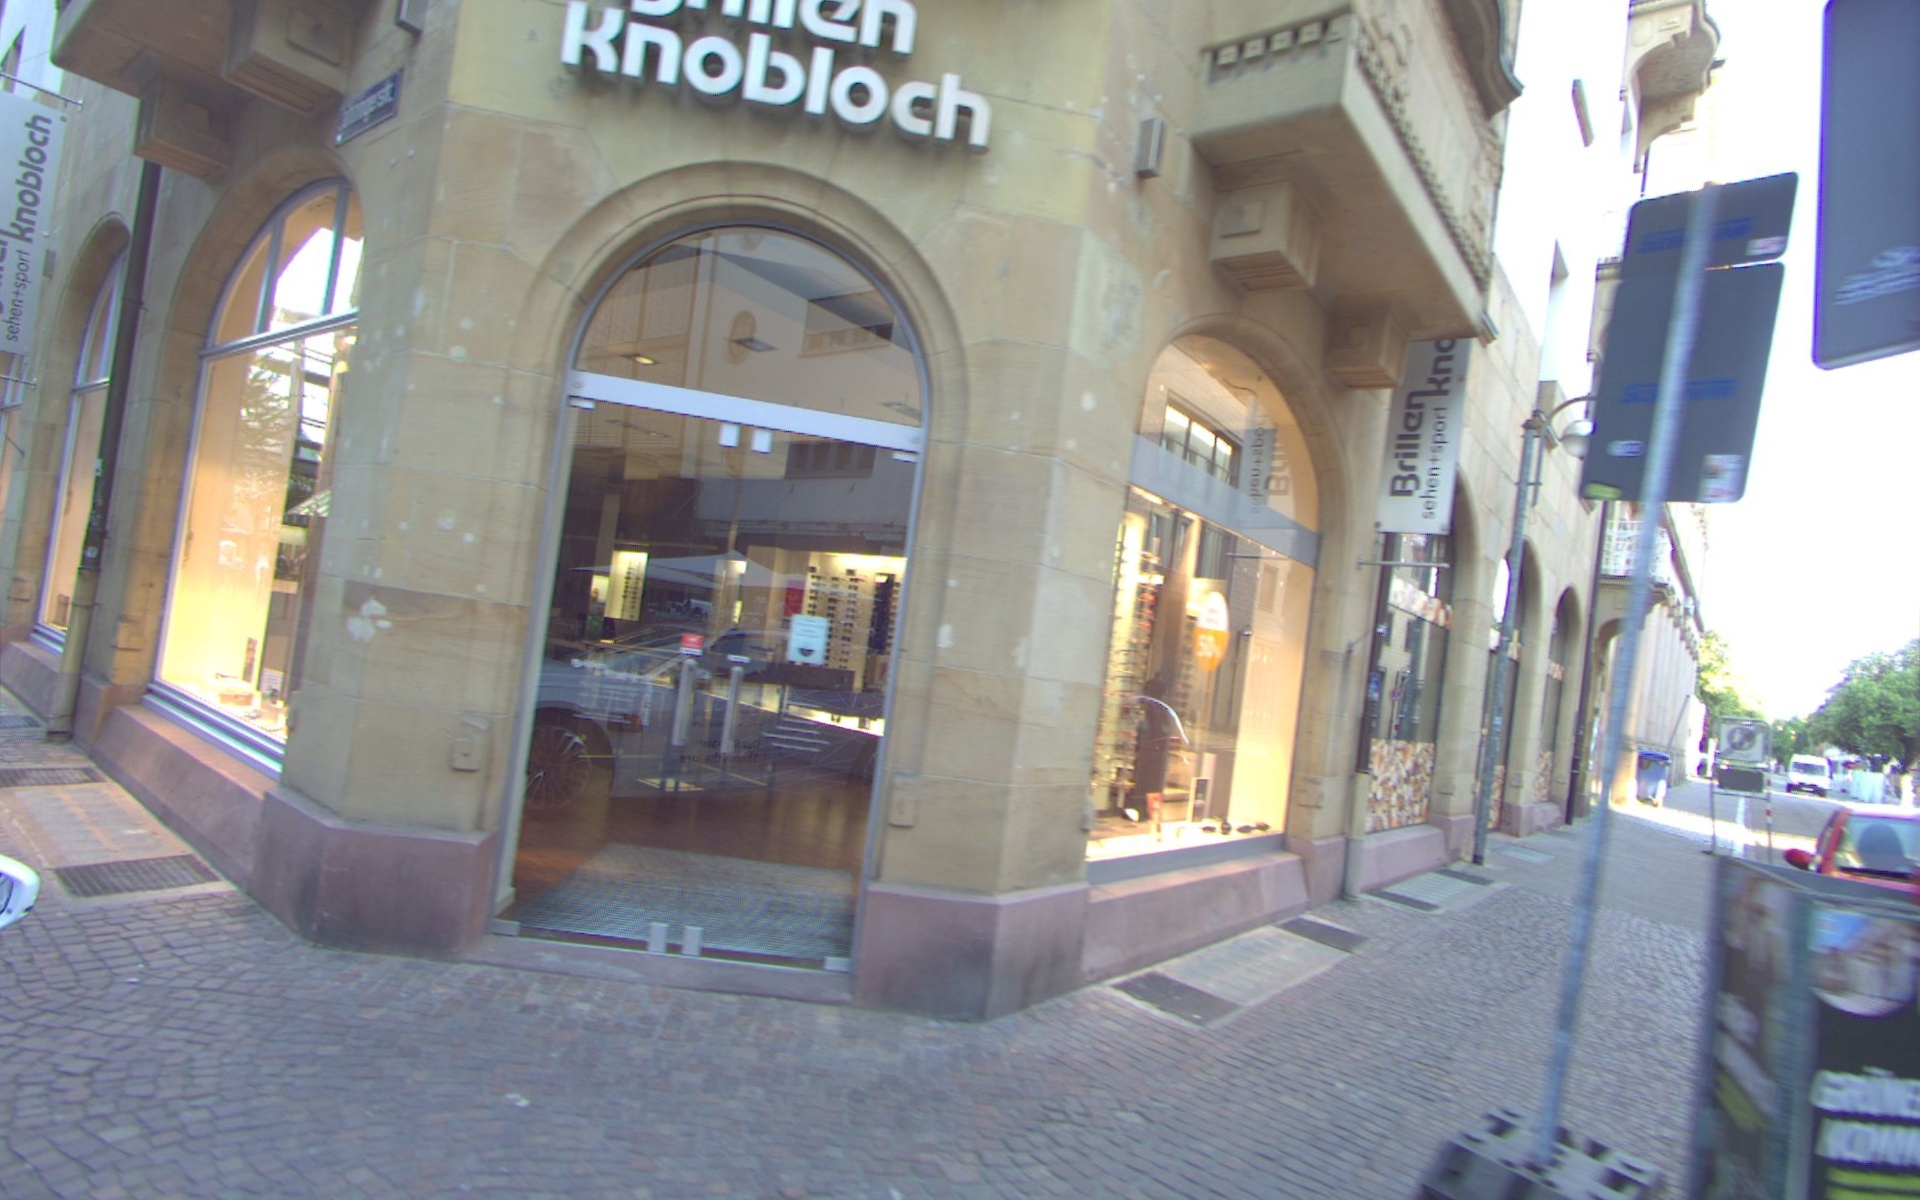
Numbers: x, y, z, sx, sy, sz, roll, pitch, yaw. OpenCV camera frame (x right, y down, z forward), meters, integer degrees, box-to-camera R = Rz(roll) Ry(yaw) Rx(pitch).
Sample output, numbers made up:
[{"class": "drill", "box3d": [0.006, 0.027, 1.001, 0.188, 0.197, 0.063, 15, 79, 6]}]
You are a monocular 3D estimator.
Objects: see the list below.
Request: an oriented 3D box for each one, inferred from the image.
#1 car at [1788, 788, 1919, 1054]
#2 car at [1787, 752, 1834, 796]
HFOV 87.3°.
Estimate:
[{"class": "car", "box3d": [7.282, 2.278, 7.494, 1.628, 1.458, 3.987, 3, -6, 40]}, {"class": "car", "box3d": [53.127, 10.830, 62.843, 1.914, 2.330, 3.983, 6, -3, 43]}]
